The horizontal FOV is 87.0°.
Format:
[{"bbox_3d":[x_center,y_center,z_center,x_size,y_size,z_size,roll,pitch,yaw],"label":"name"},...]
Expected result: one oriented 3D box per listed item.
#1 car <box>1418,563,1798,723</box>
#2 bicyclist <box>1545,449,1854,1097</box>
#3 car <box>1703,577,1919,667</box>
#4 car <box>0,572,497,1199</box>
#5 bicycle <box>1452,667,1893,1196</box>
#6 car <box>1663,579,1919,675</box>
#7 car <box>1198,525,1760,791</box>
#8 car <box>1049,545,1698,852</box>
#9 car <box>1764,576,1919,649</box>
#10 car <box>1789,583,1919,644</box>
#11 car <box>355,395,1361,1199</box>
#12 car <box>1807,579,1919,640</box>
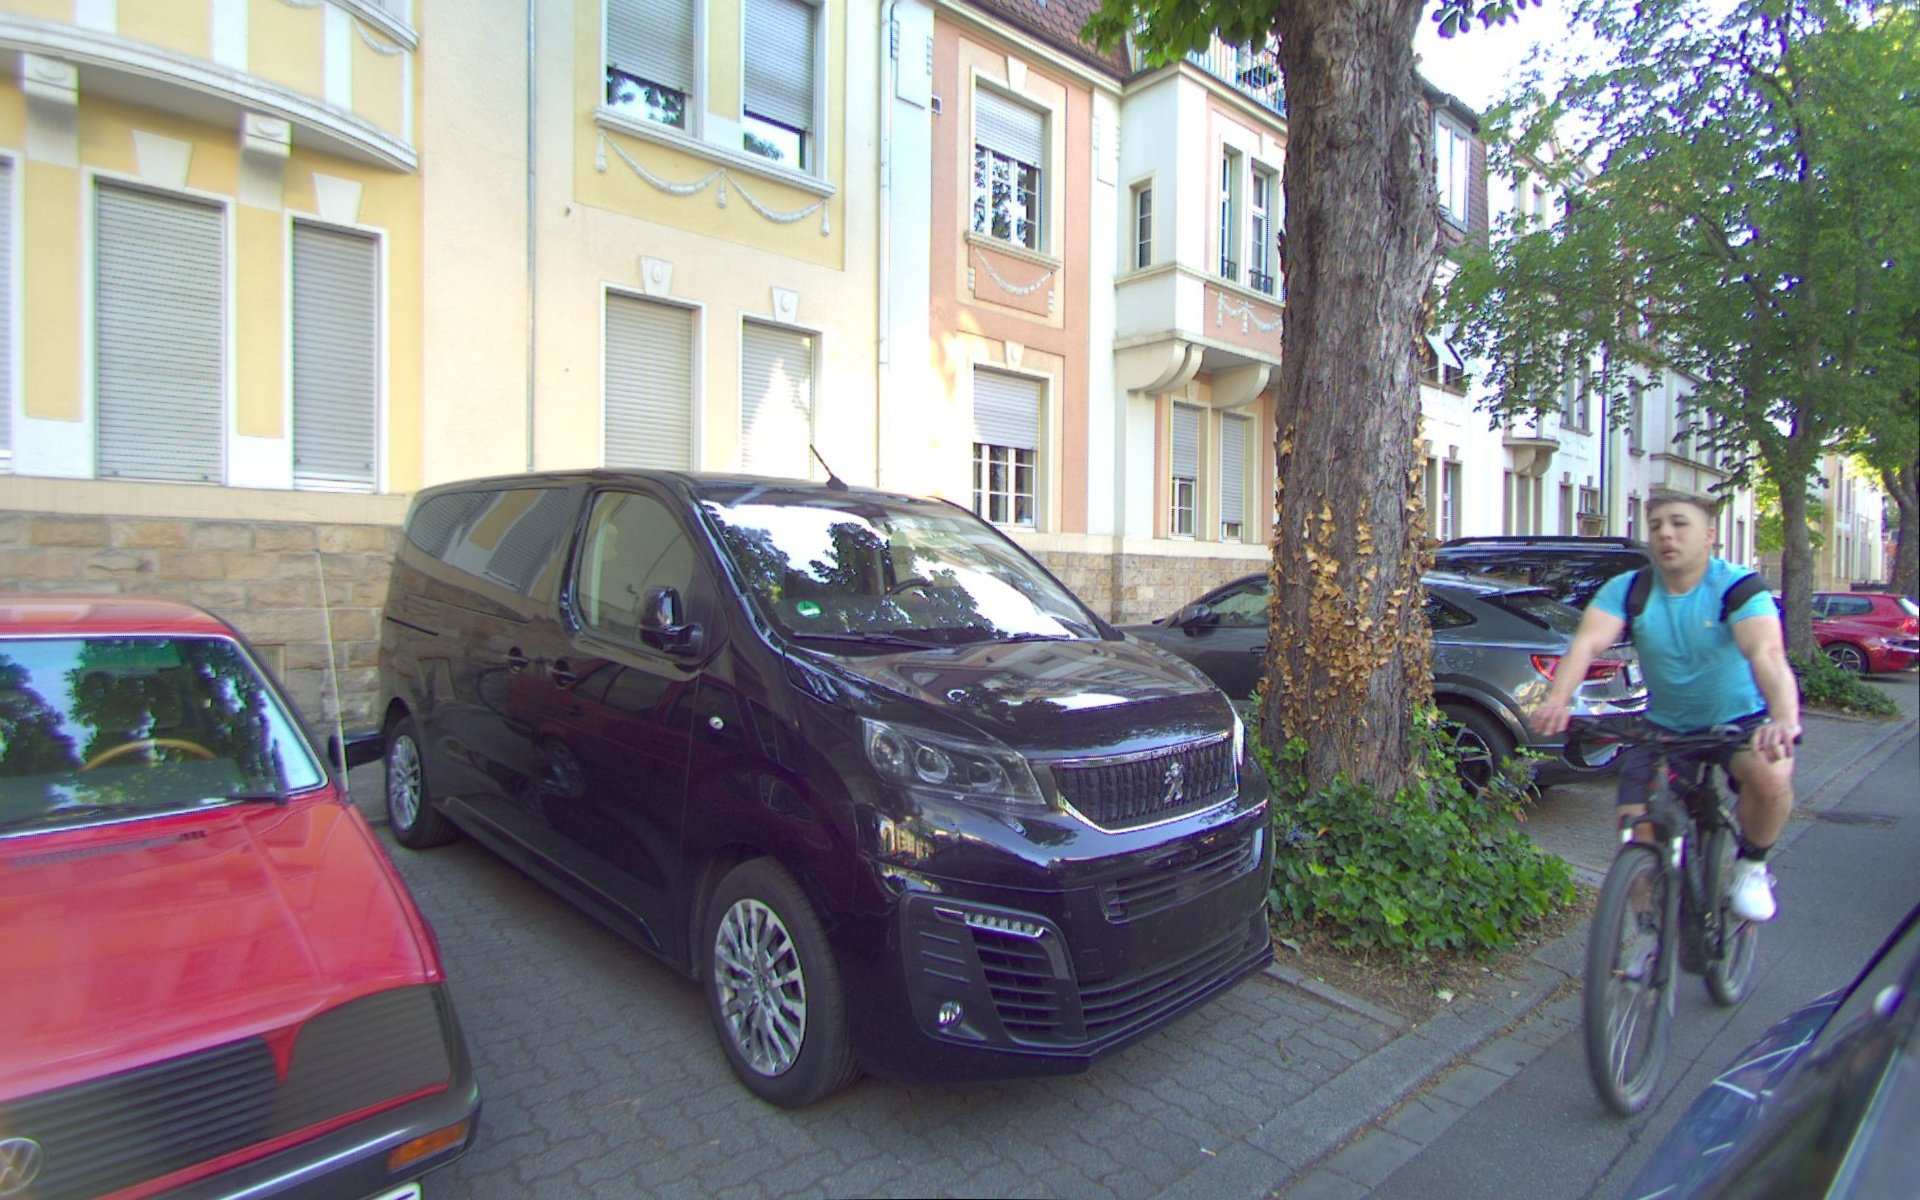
[{"bbox_3d":[7.735,0.390,12.316,1.513,1.569,3.616,-1,3,-45],"label":"car"},{"bbox_3d":[2.430,0.475,3.323,0.816,1.797,0.648,0,0,-41],"label":"bicyclist"},{"bbox_3d":[16.857,0.374,19.659,1.511,1.482,3.621,0,3,-40],"label":"car"},{"bbox_3d":[-2.817,0.653,2.965,1.532,1.336,3.917,-1,4,-43],"label":"car"},{"bbox_3d":[2.436,0.852,3.350,1.978,1.132,0.743,0,0,-41],"label":"bicycle"},{"bbox_3d":[14.935,0.405,18.058,1.511,1.420,3.621,0,3,-40],"label":"car"},{"bbox_3d":[4.379,0.279,9.059,1.569,1.849,4.165,-1,4,-44],"label":"car"},{"bbox_3d":[2.765,0.438,7.521,1.569,1.611,4.165,-1,4,-44],"label":"car"},{"bbox_3d":[21.615,0.278,24.082,1.511,1.584,3.621,0,2,-40],"label":"car"},{"bbox_3d":[24.004,0.337,26.252,1.511,1.420,3.621,0,3,-40],"label":"car"},{"bbox_3d":[-0.997,0.347,4.520,1.851,1.846,4.825,-1,4,-44],"label":"car"},{"bbox_3d":[25.900,0.259,27.952,1.511,1.584,3.621,0,2,-40],"label":"car"}]
